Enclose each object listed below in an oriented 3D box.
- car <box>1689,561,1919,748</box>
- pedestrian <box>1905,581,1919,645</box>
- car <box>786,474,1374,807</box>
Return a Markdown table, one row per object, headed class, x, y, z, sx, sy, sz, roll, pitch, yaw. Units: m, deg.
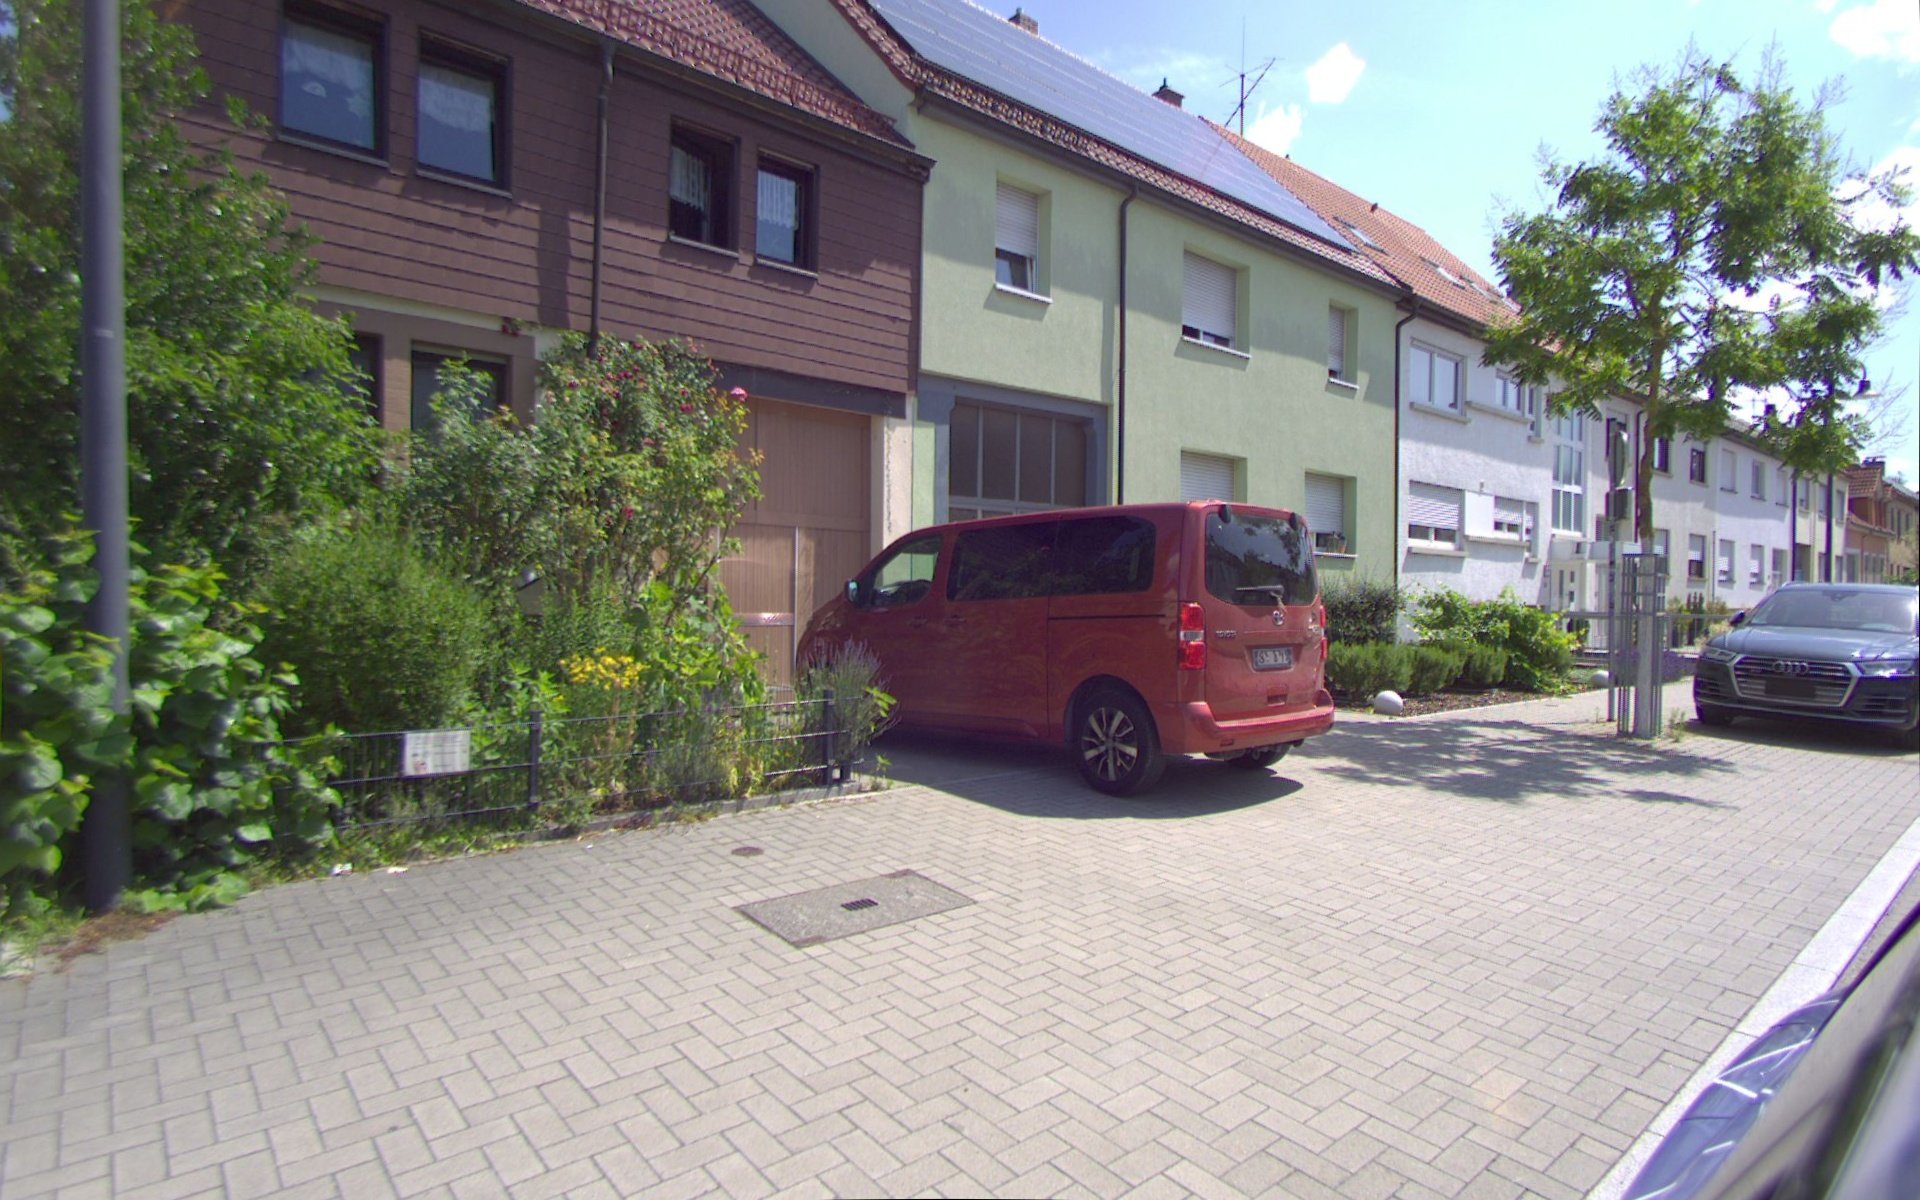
| class | x | y | z | sx | sy | sz | roll | pitch | yaw |
| --- | --- | --- | --- | --- | --- | --- | --- | --- | --- |
| car | 10.020 | 0.495 | 11.291 | 4.365 | 1.655 | 1.870 | 1 | 3 | -38 |
| pedestrian | 26.636 | 0.356 | 28.026 | 0.661 | 1.770 | 0.558 | -1 | 2 | -40 |
| car | 0.663 | 0.215 | 8.236 | 1.986 | 1.917 | 4.626 | -1 | 1 | -41 |
